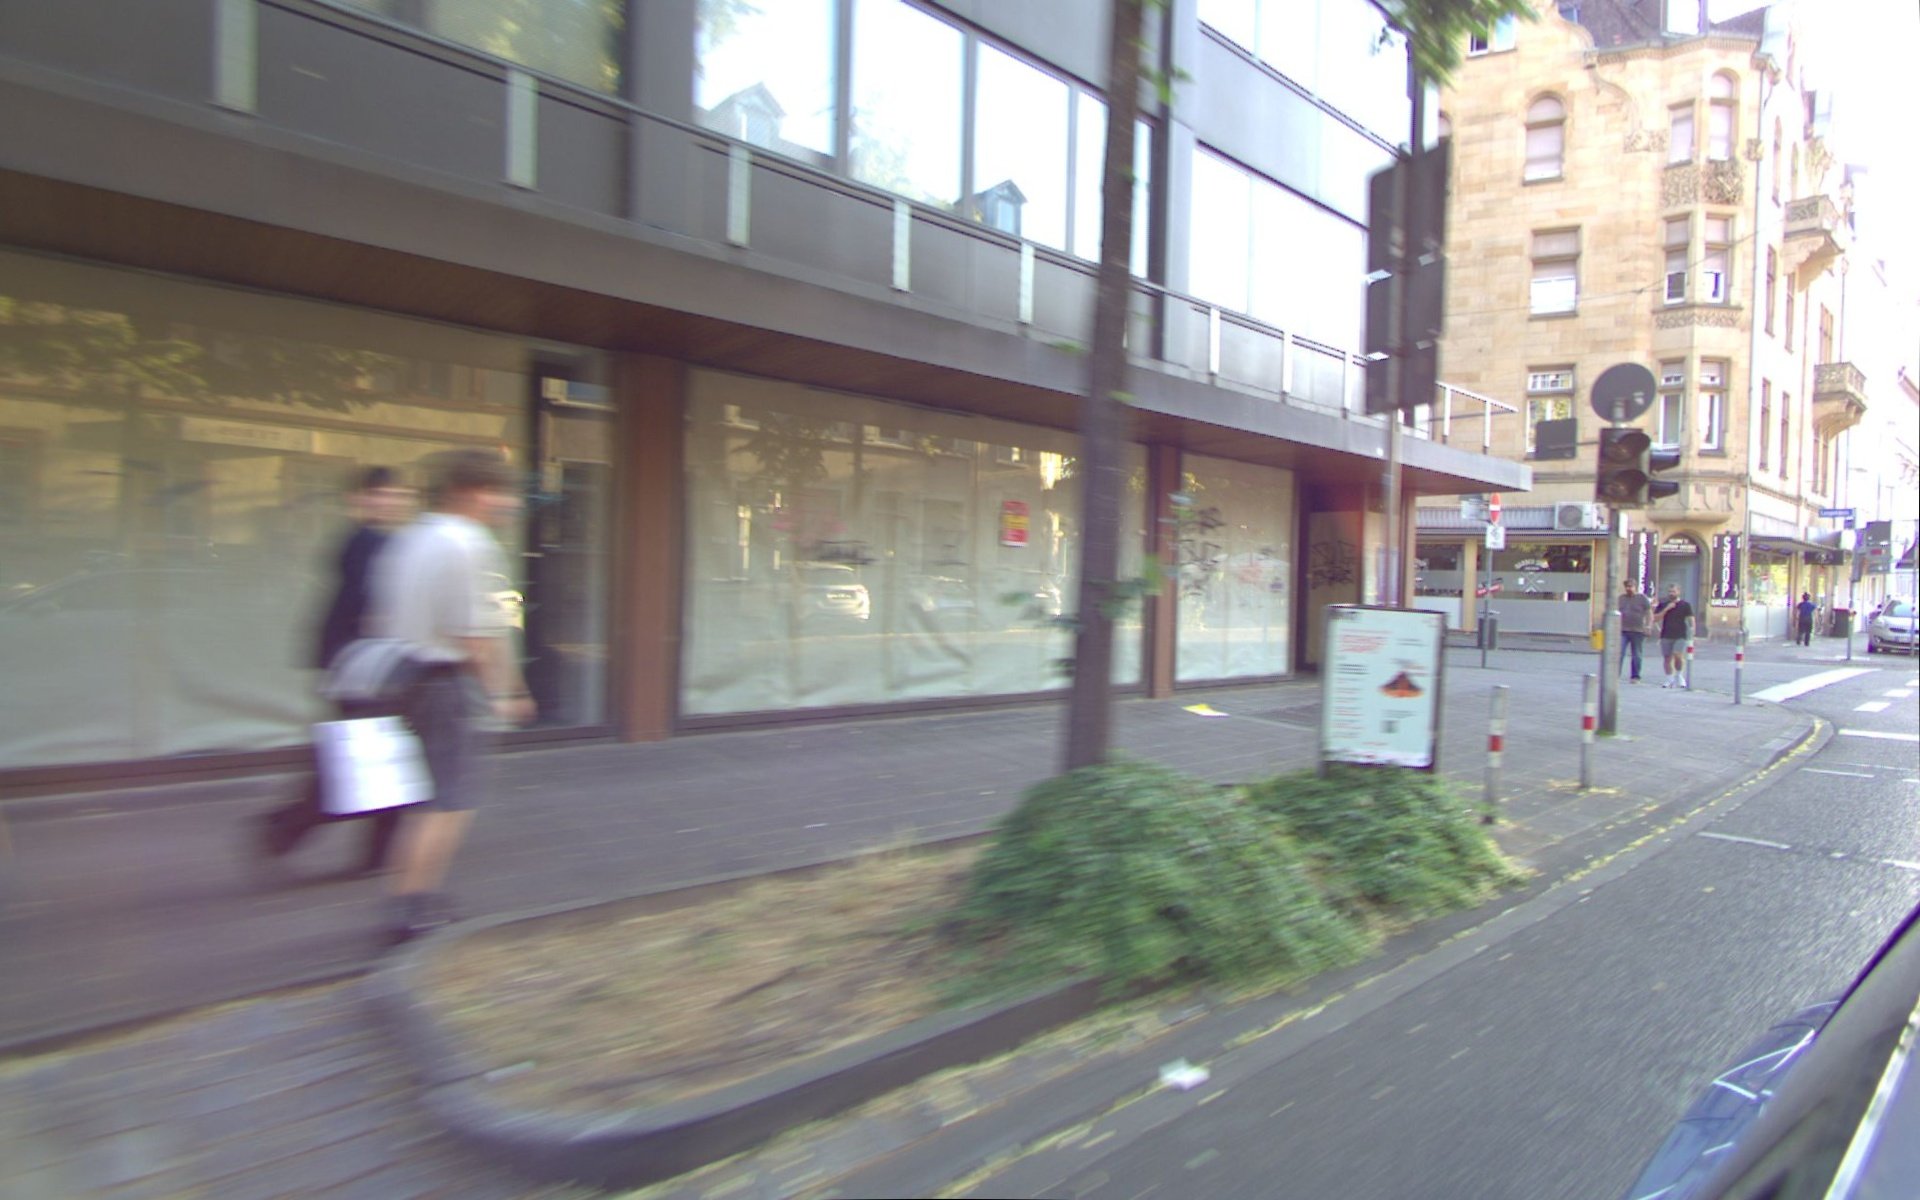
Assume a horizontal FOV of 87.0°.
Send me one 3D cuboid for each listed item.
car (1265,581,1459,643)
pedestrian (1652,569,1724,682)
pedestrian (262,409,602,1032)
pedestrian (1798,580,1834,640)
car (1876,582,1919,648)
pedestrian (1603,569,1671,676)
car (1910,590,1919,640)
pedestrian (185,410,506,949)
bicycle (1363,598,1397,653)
[{"bbox_3d":[10.864,0.278,27.436,4.720,1.436,1.961,2,1,27],"label":"car"},{"bbox_3d":[11.918,0.402,16.578,0.798,1.780,0.756,0,1,-41],"label":"pedestrian"},{"bbox_3d":[-1.813,0.325,3.456,0.854,1.806,0.732,0,5,-40],"label":"pedestrian"},{"bbox_3d":[24.852,0.275,29.392,0.591,1.682,0.600,0,3,-35],"label":"pedestrian"},{"bbox_3d":[26.607,0.417,27.674,3.727,1.667,1.759,0,5,-41],"label":"car"},{"bbox_3d":[11.668,0.373,17.439,0.798,1.780,0.756,0,1,-41],"label":"pedestrian"},{"bbox_3d":[30.290,0.520,30.655,3.520,1.476,1.582,0,5,-38],"label":"car"},{"bbox_3d":[-2.495,0.232,4.073,0.928,1.807,1.049,0,4,-41],"label":"pedestrian"},{"bbox_3d":[8.477,0.503,20.403,0.576,1.046,1.839,2,-1,24],"label":"bicycle"}]
